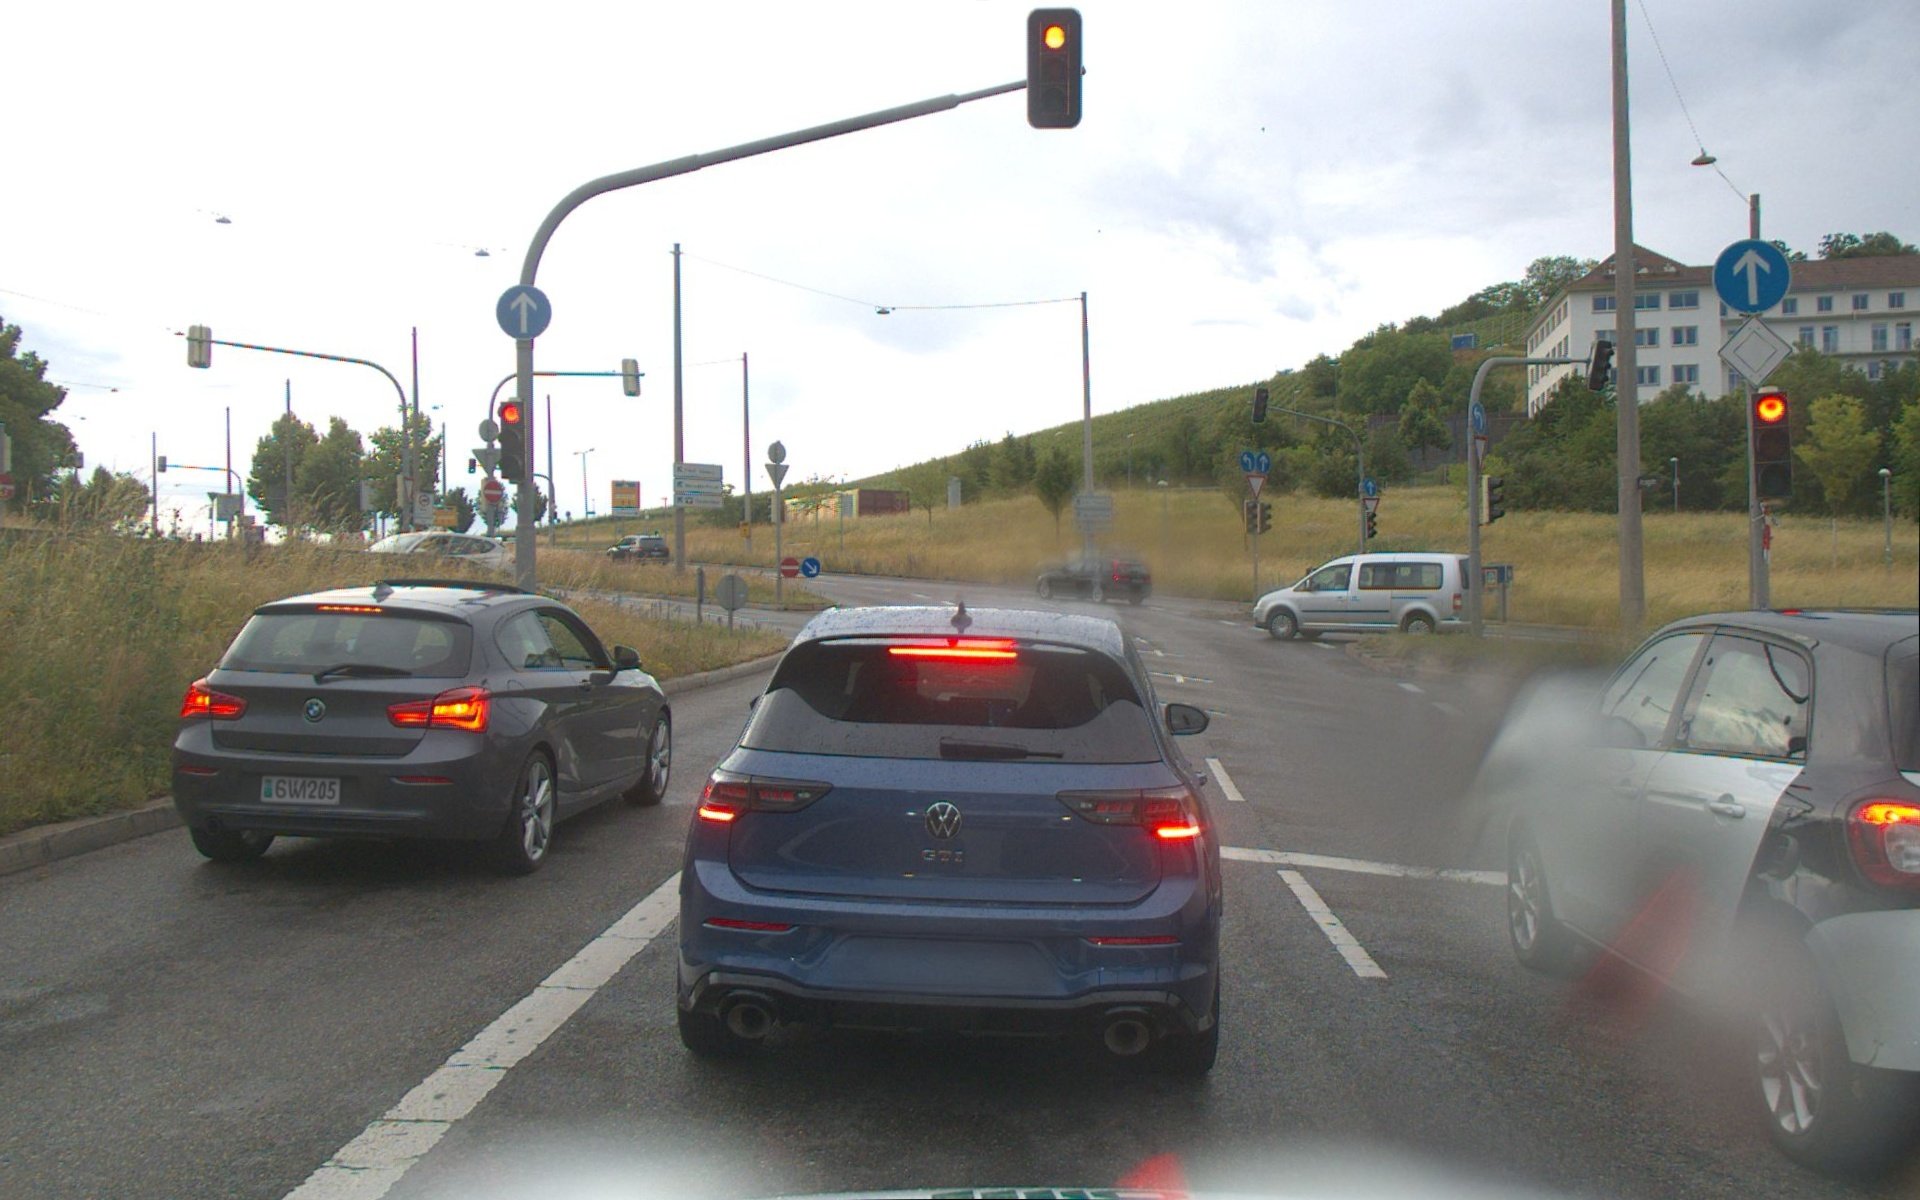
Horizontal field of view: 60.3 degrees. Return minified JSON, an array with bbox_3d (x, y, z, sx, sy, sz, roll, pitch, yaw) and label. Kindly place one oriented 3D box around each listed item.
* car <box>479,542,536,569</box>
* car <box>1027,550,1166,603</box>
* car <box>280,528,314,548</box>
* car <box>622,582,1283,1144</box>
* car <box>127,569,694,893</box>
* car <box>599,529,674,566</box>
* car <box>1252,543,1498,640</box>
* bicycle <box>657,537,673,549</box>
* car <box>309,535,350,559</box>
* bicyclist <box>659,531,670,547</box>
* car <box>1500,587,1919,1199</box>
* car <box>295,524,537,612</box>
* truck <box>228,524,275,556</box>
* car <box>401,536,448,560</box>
[{"bbox_3d":[-27.741,-2.696,101.355,1.978,1.503,4.446,1,-1,-36],"label":"car"},{"bbox_3d":[4.502,-0.798,55.073,1.978,1.646,4.790,1,1,-36],"label":"car"},{"bbox_3d":[-64.218,-5.968,160.171,1.978,1.688,4.487,1,-1,-36],"label":"car"},{"bbox_3d":[0.118,0.699,6.392,1.786,1.486,3.810,1,0,4],"label":"car"},{"bbox_3d":[-2.879,0.582,9.691,1.667,1.485,4.117,0,0,5],"label":"car"},{"bbox_3d":[-16.173,-2.580,82.641,1.979,1.665,4.362,1,-1,-37],"label":"car"},{"bbox_3d":[8.543,-0.166,34.192,4.602,1.882,1.815,0,-1,35],"label":"car"},{"bbox_3d":[-20.467,-3.933,114.723,0.513,0.788,1.602,3,0,-33],"label":"bicycle"},{"bbox_3d":[-53.447,-4.465,140.141,2.111,1.826,4.682,1,-1,-35],"label":"car"},{"bbox_3d":[-20.487,-4.236,114.766,0.519,1.065,0.573,4,0,-35],"label":"bicyclist"},{"bbox_3d":[3.175,0.763,5.735,1.623,1.529,3.452,1,-1,3],"label":"car"},{"bbox_3d":[-11.216,-0.605,34.371,1.959,1.649,4.509,0,-1,35],"label":"car"},{"bbox_3d":[-77.333,-6.580,180.446,3.234,3.128,6.096,4,0,-37],"label":"truck"},{"bbox_3d":[-38.253,-3.691,118.103,1.977,1.503,4.366,1,-1,-35],"label":"car"}]
